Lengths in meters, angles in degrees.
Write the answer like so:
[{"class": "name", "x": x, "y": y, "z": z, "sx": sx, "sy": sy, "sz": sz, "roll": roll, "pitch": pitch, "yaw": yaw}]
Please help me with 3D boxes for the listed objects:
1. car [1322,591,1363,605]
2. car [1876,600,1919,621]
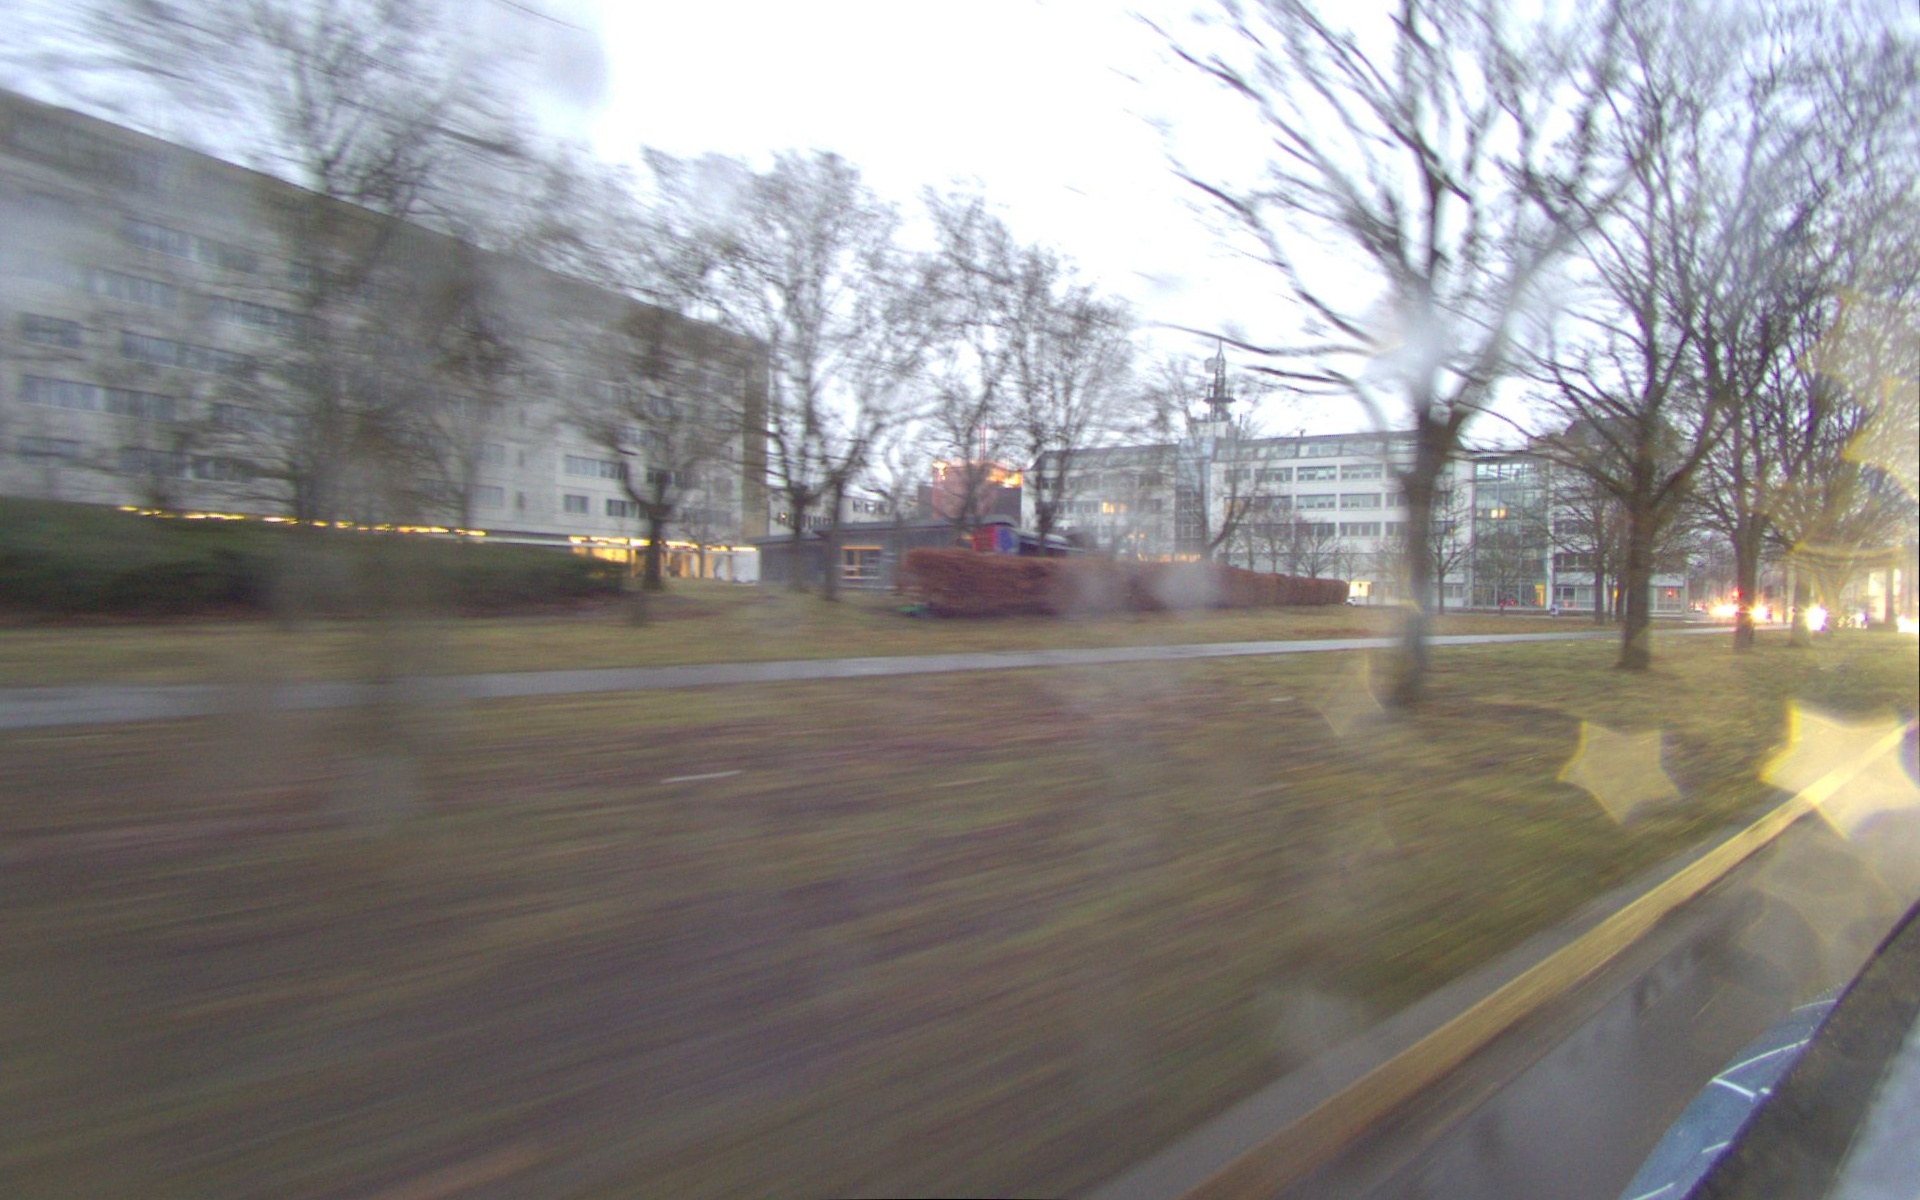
[{"class": "car", "x": 43.548, "y": -0.272, "z": 115.178, "sx": 4.127, "sy": 1.456, "sz": 1.885, "roll": 2, "pitch": 1, "yaw": 29}, {"class": "car", "x": 72.383, "y": 0.794, "z": 77.998, "sx": 1.936, "sy": 1.575, "sz": 4.168, "roll": 0, "pitch": -1, "yaw": 32}]
